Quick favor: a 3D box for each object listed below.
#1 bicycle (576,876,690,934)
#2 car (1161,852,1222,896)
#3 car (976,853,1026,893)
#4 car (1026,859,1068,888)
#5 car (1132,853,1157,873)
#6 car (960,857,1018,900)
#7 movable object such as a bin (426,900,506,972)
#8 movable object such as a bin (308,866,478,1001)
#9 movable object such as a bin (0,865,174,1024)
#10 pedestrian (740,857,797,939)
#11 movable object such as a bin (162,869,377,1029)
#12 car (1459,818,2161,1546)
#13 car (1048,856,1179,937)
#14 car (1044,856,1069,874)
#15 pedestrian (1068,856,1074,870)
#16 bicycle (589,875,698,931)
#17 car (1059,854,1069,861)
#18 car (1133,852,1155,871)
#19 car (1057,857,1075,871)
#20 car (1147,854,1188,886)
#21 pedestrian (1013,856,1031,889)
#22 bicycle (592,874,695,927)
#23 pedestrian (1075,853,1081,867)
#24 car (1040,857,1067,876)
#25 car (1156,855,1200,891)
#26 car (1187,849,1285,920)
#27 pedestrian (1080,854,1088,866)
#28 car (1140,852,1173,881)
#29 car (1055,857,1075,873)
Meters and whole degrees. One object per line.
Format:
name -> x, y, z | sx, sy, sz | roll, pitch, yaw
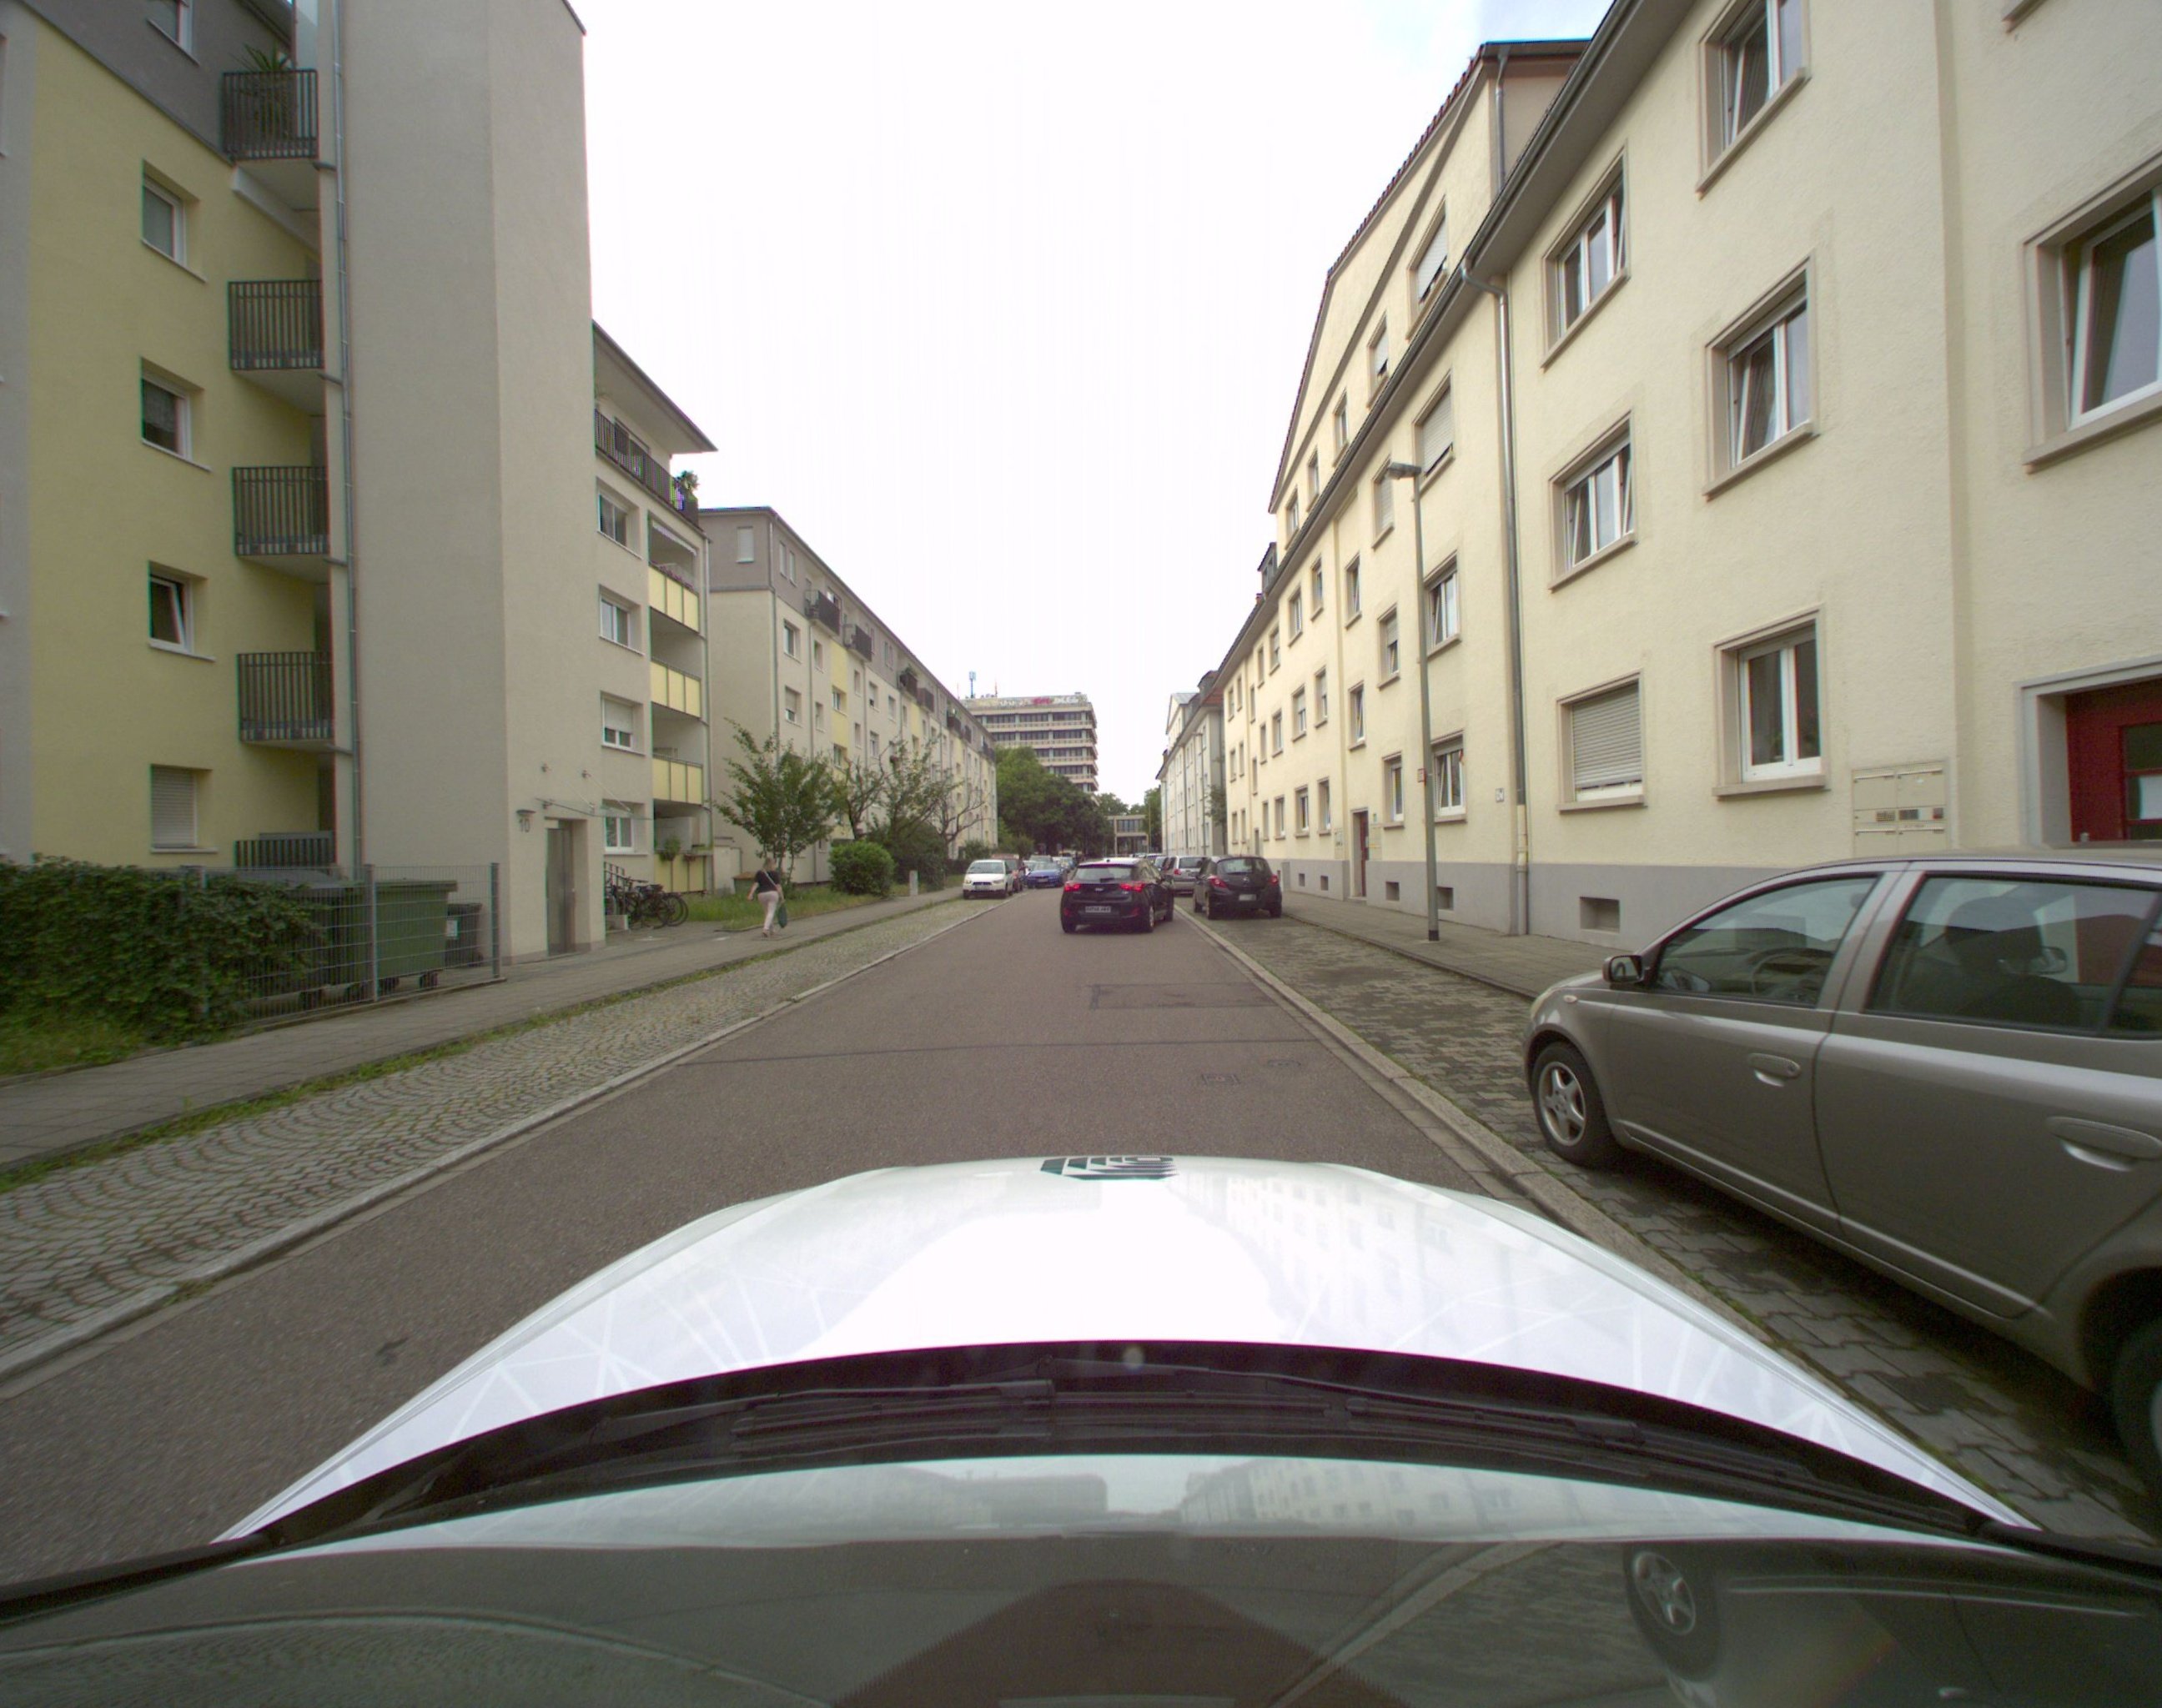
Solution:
bicycle -> -9.609, 1.072, 17.511 | 2.021, 1.141, 0.621 | -1, 0, -8
car -> 4.016, 0.697, 30.257 | 1.842, 1.450, 3.835 | -2, 0, 2
car -> -3.697, 0.844, 38.434 | 1.950, 1.770, 4.360 | -1, 0, 0
car -> -1.764, 0.994, 43.622 | 1.837, 1.451, 4.505 | -1, 0, 3
car -> 5.090, 0.701, 65.684 | 1.813, 1.503, 4.094 | -2, 0, 3
car -> -3.616, 0.930, 32.592 | 1.714, 1.570, 3.872 | 0, 0, 2
movable object such as a bin -> -8.891, 1.168, 11.800 | 0.633, 0.965, 0.652 | -1, 0, 2
movable object such as a bin -> -7.877, 0.860, 9.397 | 0.799, 1.429, 1.290 | -1, 0, 5
movable object such as a bin -> -10.665, 0.859, 8.270 | 1.347, 1.464, 1.372 | -1, 0, 0
pedestrian -> -6.369, 0.876, 16.637 | 0.797, 1.610, 0.946 | -1, 0, -3
movable object such as a bin -> -7.966, 0.882, 8.076 | 0.800, 1.429, 1.289 | -1, 0, 4
car -> 3.101, 0.658, 2.795 | 1.719, 1.517, 4.061 | -2, 0, 1
car -> 0.836, 0.809, 17.174 | 1.890, 1.433, 4.249 | -2, 0, 14
car -> -2.182, 0.976, 73.268 | 1.888, 1.599, 4.523 | 1, 0, 2
pedestrian -> -1.319, 1.131, 108.010 | 0.602, 1.831, 0.676 | -1, 0, 3
bicycle -> -9.711, 1.071, 18.137 | 2.021, 1.141, 0.621 | -1, 0, -9
car -> -3.208, 0.623, 152.198 | 1.659, 1.333, 3.397 | -1, 0, 2
car -> 5.452, 0.634, 70.749 | 1.813, 1.603, 4.094 | -2, 0, 3
car -> -1.754, 1.109, 93.900 | 1.987, 1.541, 3.999 | -1, 0, 0
car -> 4.273, 0.757, 40.821 | 1.718, 1.476, 4.507 | -1, 0, 2
pedestrian -> -3.158, 0.977, 43.577 | 0.742, 1.701, 0.792 | -2, -1, -16
bicycle -> -10.206, 1.076, 19.021 | 2.017, 1.141, 0.623 | -1, 0, -2
pedestrian -> -0.449, 0.842, 108.326 | 0.710, 1.831, 0.798 | -1, 0, 4
car -> -2.247, 1.015, 67.094 | 1.888, 1.452, 4.523 | 1, 0, 2
car -> 4.176, 0.781, 35.448 | 1.596, 1.476, 3.871 | -1, 0, 2
car -> 3.684, 0.665, 20.024 | 1.718, 1.517, 4.062 | -2, 0, 2
pedestrian -> 0.413, 0.786, 108.083 | 0.968, 1.654, 0.981 | -2, 0, 3
car -> 4.531, 0.722, 49.402 | 1.813, 1.642, 4.094 | -1, 0, 3
car -> -1.587, 1.101, 81.587 | 1.987, 1.541, 3.999 | -1, 0, 0
